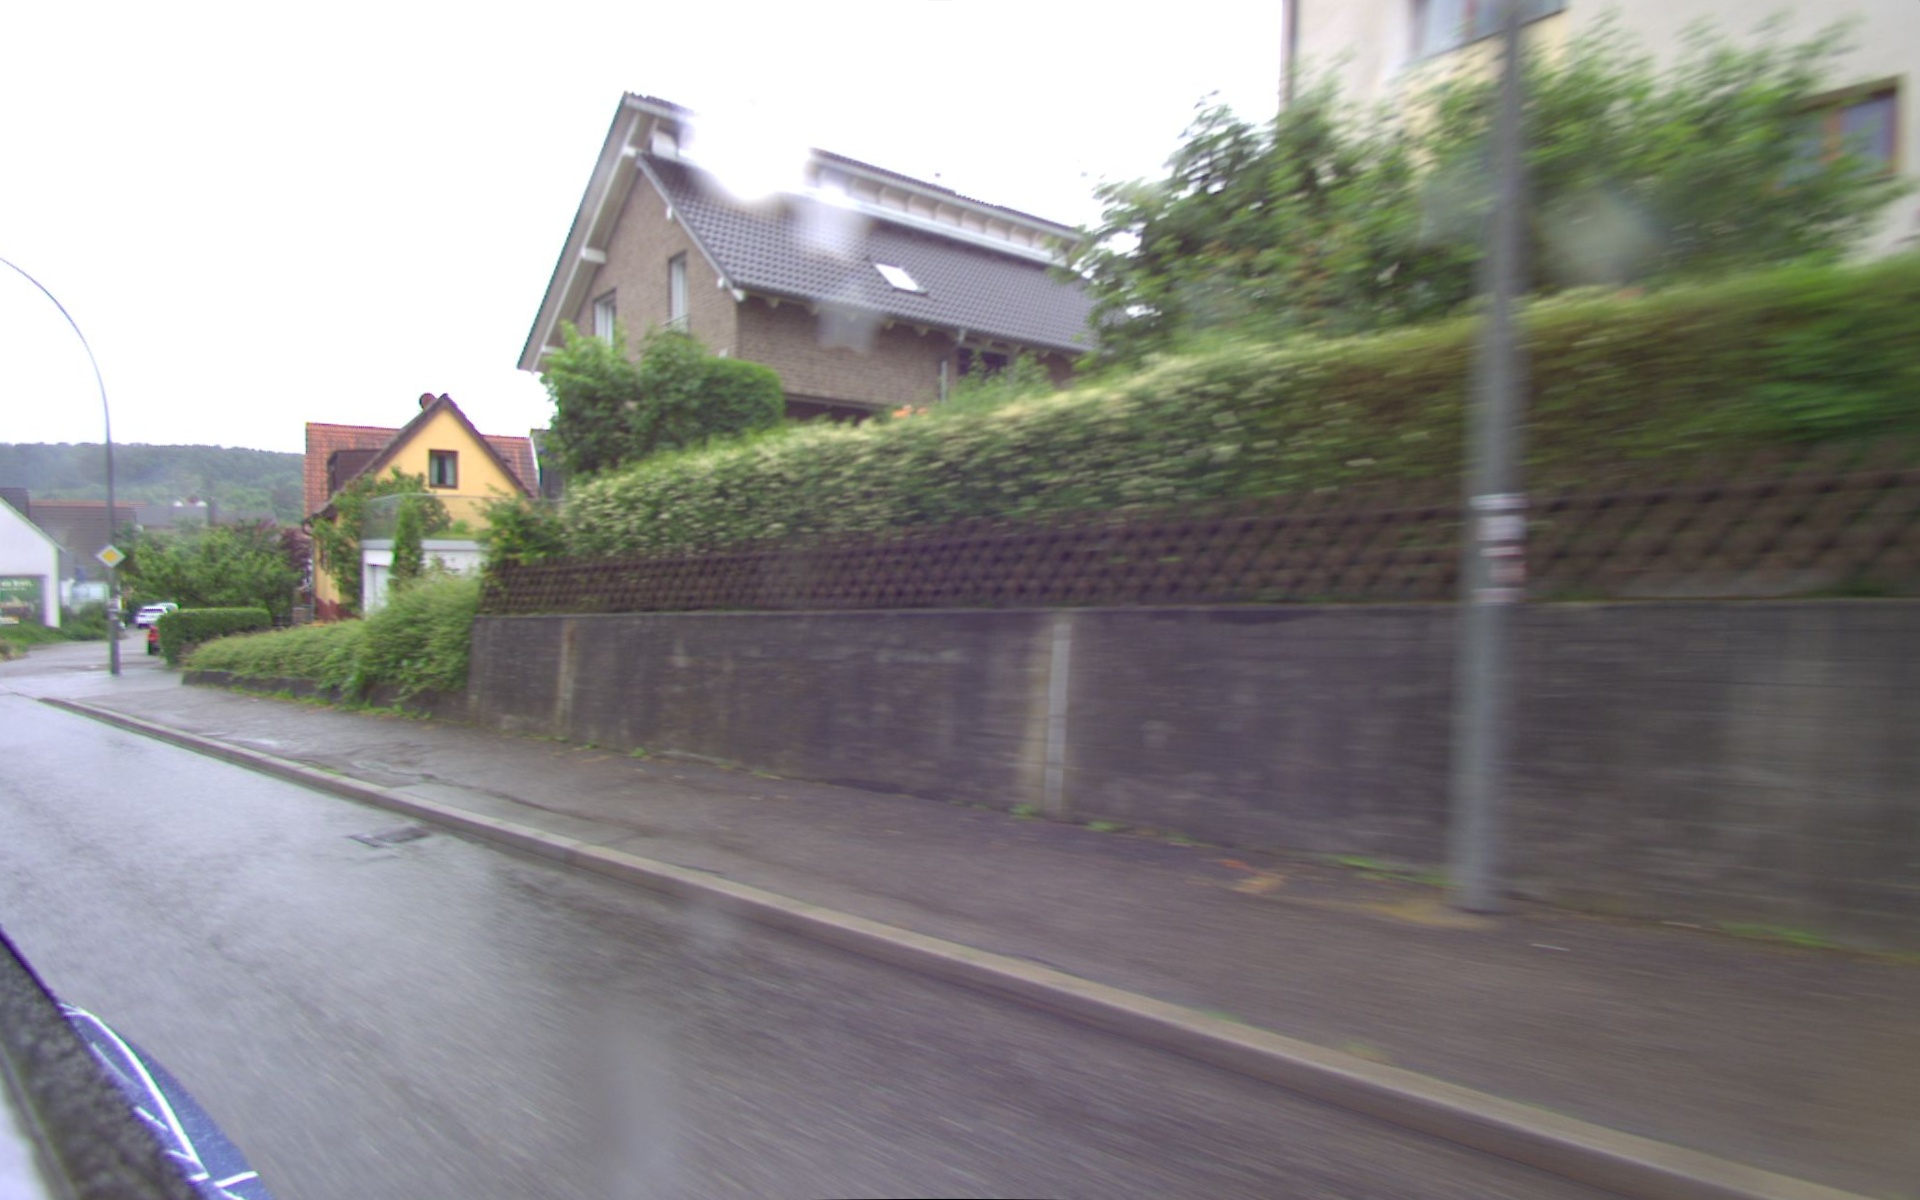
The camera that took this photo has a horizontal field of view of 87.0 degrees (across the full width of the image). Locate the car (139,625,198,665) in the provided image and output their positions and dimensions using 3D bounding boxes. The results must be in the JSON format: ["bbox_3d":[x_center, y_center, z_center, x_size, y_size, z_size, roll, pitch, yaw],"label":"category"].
[{"bbox_3d":[-33.487,1.870,42.909,1.725,1.574,4.029,0,-1,-35],"label":"car"}]

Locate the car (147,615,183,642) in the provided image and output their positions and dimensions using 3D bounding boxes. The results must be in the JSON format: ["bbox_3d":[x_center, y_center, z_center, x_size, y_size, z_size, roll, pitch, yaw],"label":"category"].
[{"bbox_3d":[-56.966,2.039,72.580,1.729,1.903,3.750,0,-1,-33],"label":"car"}]

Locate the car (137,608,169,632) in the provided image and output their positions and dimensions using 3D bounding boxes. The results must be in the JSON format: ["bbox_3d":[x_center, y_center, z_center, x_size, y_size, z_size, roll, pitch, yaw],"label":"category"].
[{"bbox_3d":[-54.022,1.320,67.776,1.394,1.439,3.502,-1,1,-34],"label":"car"}]
